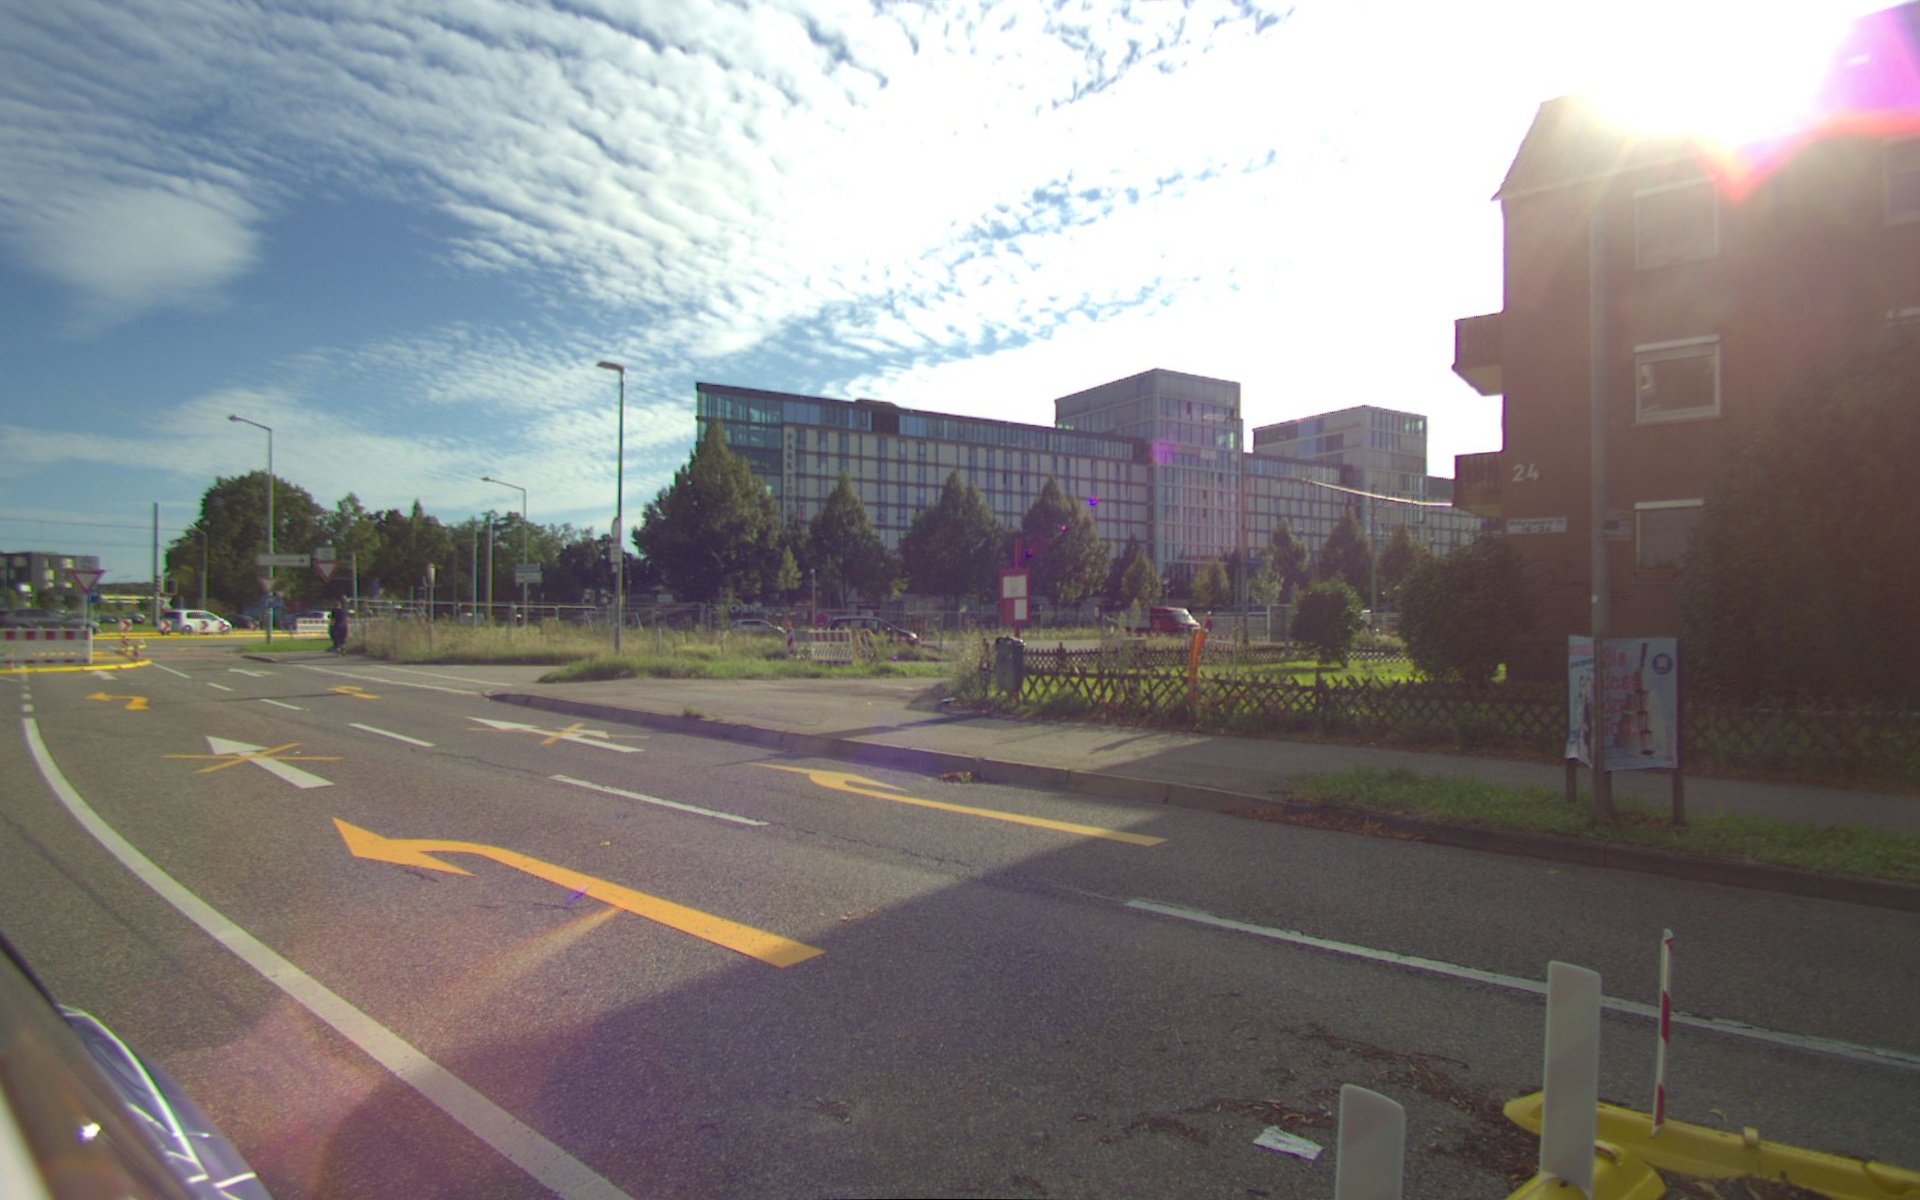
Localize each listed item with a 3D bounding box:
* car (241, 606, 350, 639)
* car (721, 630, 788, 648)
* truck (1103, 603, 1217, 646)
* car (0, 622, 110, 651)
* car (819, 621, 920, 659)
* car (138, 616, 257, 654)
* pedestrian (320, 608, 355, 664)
[{"bbox_3d":[-43.303,1.426,66.158,2.455,2.074,5.777,0,0,15],"label":"car"},{"bbox_3d":[-16.008,3.024,79.030,4.730,1.362,2.006,1,-2,-32],"label":"car"},{"bbox_3d":[14.242,1.679,72.801,3.306,2.875,8.136,0,0,-33],"label":"truck"},{"bbox_3d":[-46.090,1.800,50.862,1.990,1.362,4.768,0,-1,26],"label":"car"},{"bbox_3d":[-4.053,1.788,45.935,4.355,1.670,1.998,0,0,4],"label":"car"},{"bbox_3d":[-44.416,1.993,59.143,2.448,2.074,5.491,0,0,7],"label":"car"},{"bbox_3d":[-20.628,1.183,33.548,0.739,1.838,0.705,-1,-1,20],"label":"pedestrian"}]
